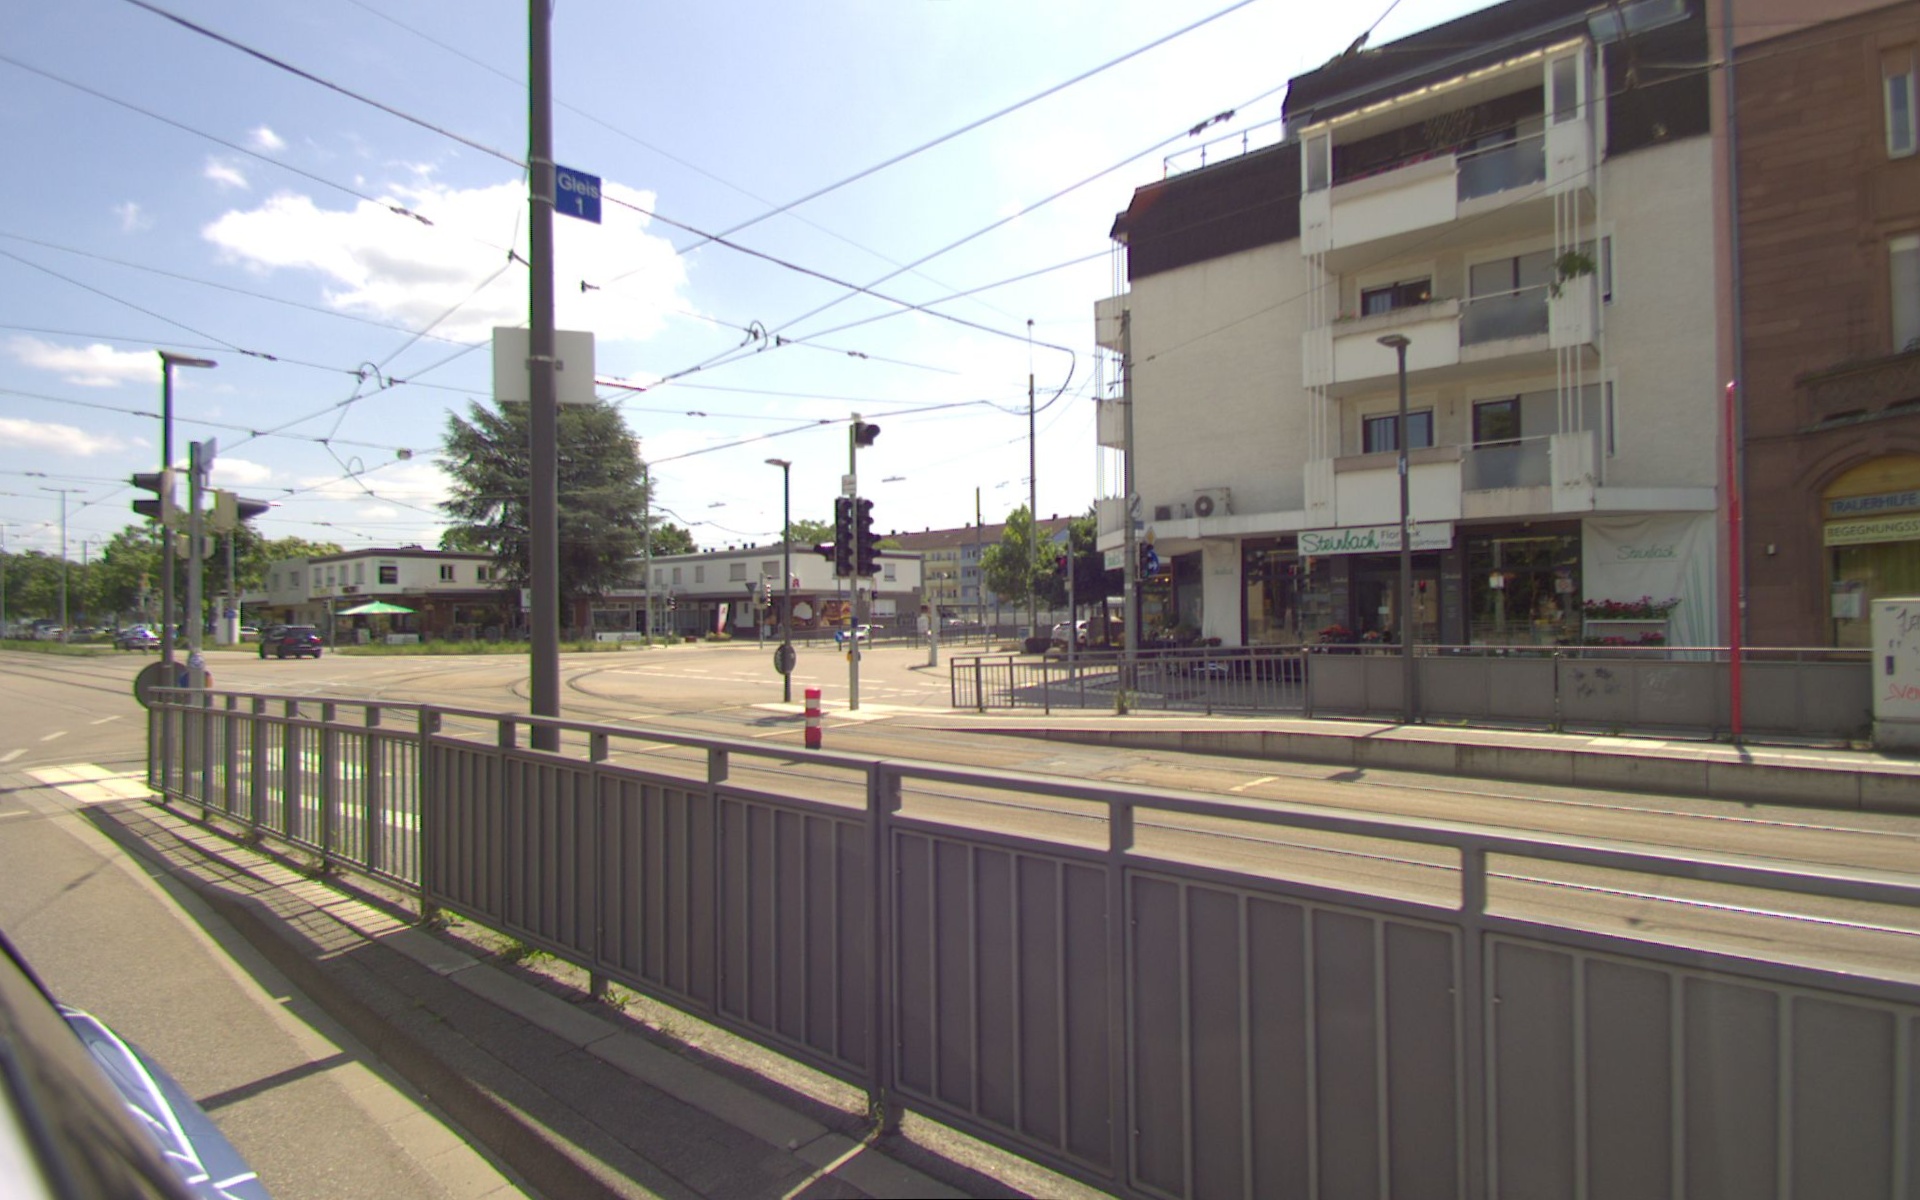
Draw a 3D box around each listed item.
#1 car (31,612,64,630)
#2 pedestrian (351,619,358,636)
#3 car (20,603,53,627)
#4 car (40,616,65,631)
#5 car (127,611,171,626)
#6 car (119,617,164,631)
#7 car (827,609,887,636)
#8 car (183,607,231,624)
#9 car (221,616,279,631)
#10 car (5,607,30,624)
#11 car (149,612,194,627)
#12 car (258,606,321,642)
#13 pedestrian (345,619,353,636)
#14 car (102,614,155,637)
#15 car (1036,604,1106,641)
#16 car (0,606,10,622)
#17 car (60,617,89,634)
[{"bbox_3d":[-101.780,2.298,112.833,4.885,1.851,2.128,0,1,41],"label":"car"},{"bbox_3d":[-46.000,2.096,76.860,0.528,1.278,0.340,-2,-2,43],"label":"pedestrian"},{"bbox_3d":[-106.453,1.705,116.634,5.030,2.631,2.128,0,1,41],"label":"car"},{"bbox_3d":[-97.031,2.488,108.200,4.358,1.551,1.483,0,1,42],"label":"car"},{"bbox_3d":[-98.594,2.288,123.065,1.802,1.749,3.945,0,-3,41],"label":"car"},{"bbox_3d":[-104.382,3.067,129.099,1.802,1.749,4.145,0,-3,41],"label":"car"},{"bbox_3d":[-7.036,1.567,69.558,1.899,1.738,3.800,0,-3,41],"label":"car"},{"bbox_3d":[-117.366,2.446,157.860,2.256,2.500,5.629,-1,-1,37],"label":"car"},{"bbox_3d":[-70.029,2.293,99.881,1.906,1.445,4.425,-2,-2,43],"label":"car"},{"bbox_3d":[-119.017,1.932,127.833,4.646,1.953,1.772,0,1,41],"label":"car"},{"bbox_3d":[-93.677,2.261,120.305,1.902,1.749,3.945,-1,-2,41],"label":"car"},{"bbox_3d":[-32.985,1.182,49.743,4.280,1.696,1.704,-2,-2,44],"label":"car"},{"bbox_3d":[-46.919,2.096,77.716,0.532,1.278,0.349,-1,-2,41],"label":"pedestrian"},{"bbox_3d":[-56.242,1.734,68.439,4.397,1.482,1.973,-1,-2,40],"label":"car"},{"bbox_3d":[6.044,1.233,54.993,1.998,1.927,3.948,-1,-2,39],"label":"car"},{"bbox_3d":[-133.029,1.919,139.751,4.484,2.117,2.046,0,1,39],"label":"car"},{"bbox_3d":[-89.348,2.558,102.105,4.549,1.551,1.560,0,1,42],"label":"car"}]
